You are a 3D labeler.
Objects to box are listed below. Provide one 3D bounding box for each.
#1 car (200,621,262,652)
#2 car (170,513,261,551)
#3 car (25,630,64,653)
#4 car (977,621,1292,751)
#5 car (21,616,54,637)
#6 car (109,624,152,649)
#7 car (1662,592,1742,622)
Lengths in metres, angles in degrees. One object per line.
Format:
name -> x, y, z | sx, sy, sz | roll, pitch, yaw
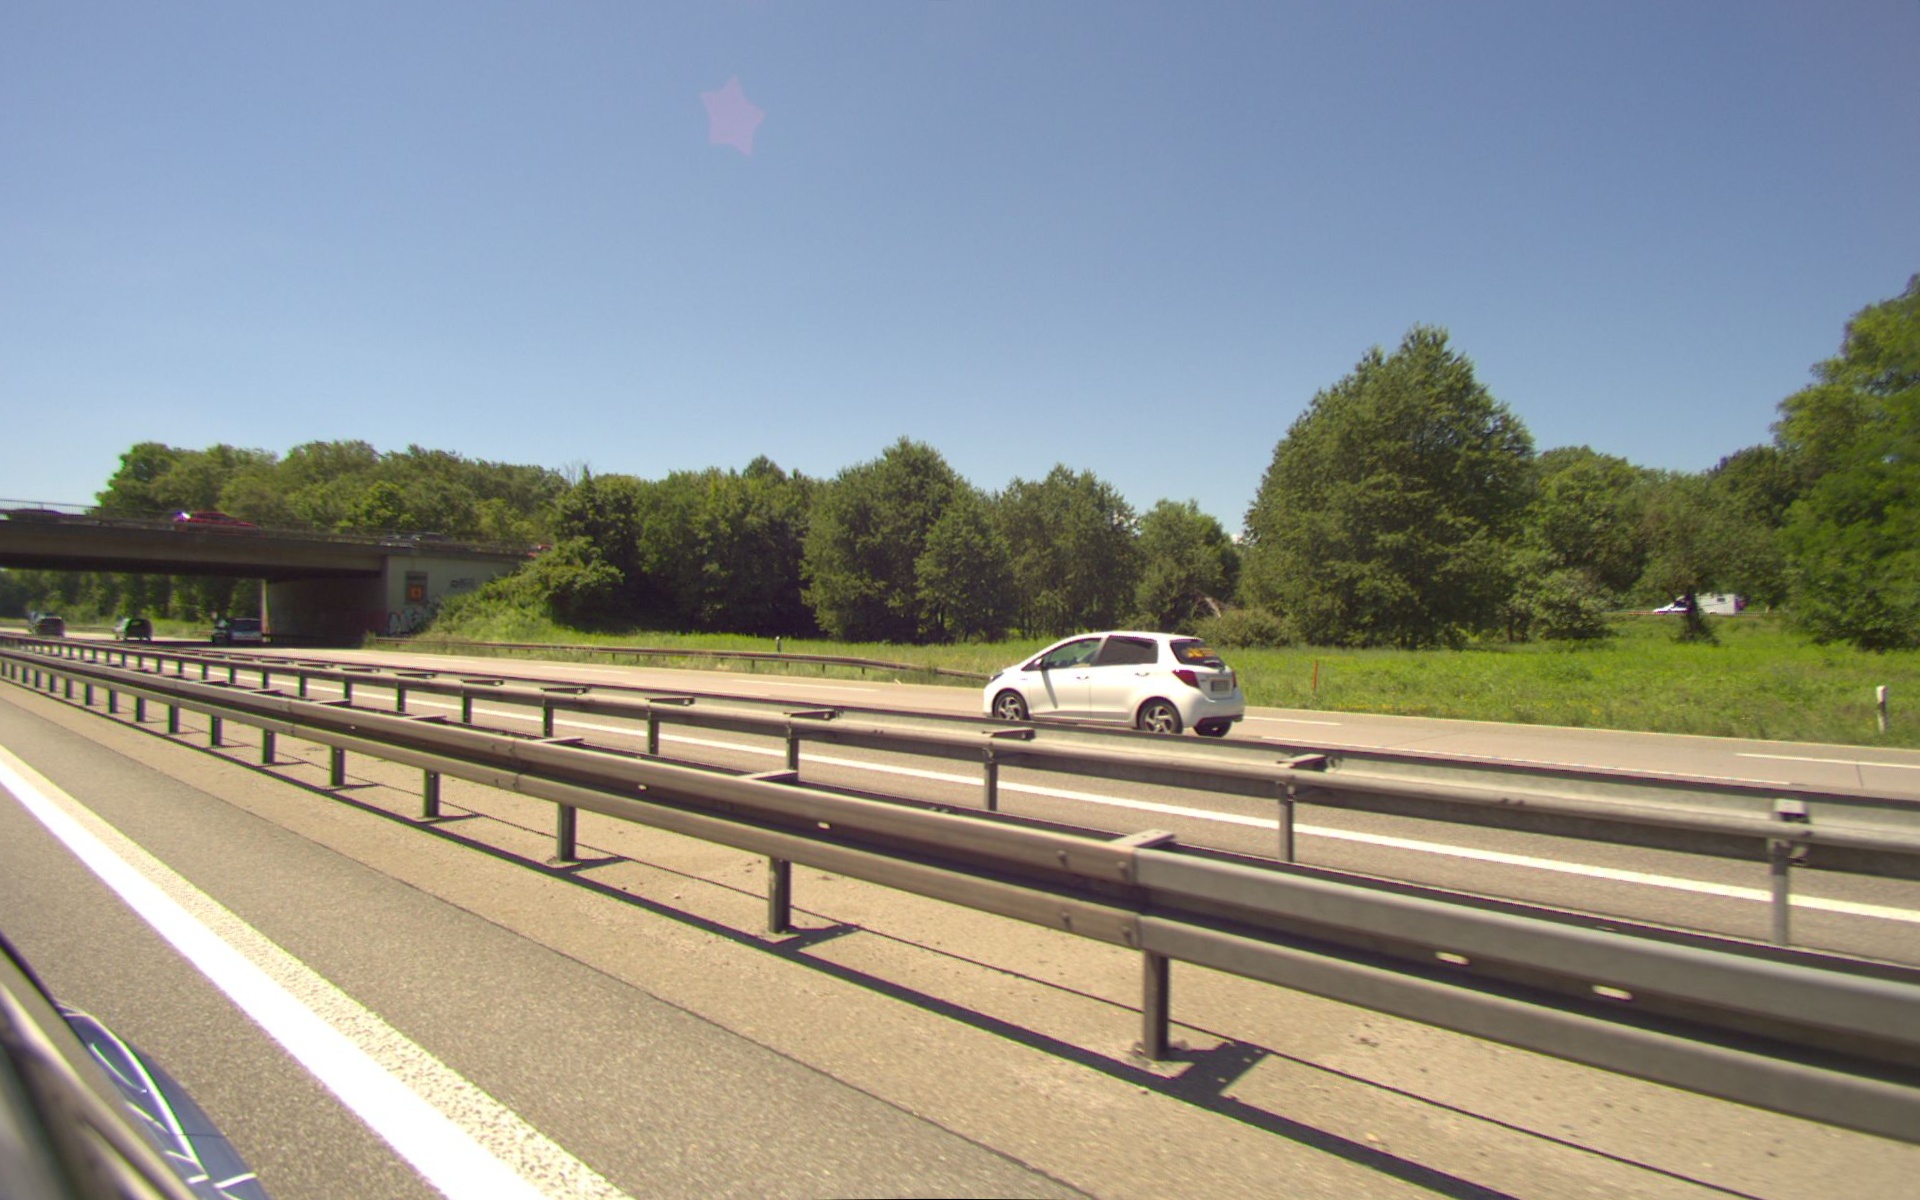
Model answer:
car -> -43.831, 2.165, 60.825 | 5.081, 1.776, 1.723 | -1, -3, 39
car -> -45.382, -4.110, 61.729 | 1.997, 2.029, 4.106 | -1, 0, 38
car -> -72.538, 3.278, 80.177 | 4.637, 1.732, 1.722 | -1, -3, 41
car -> 2.385, 1.104, 14.507 | 4.202, 1.556, 1.671 | -1, 0, 41
car -> -106.053, 3.018, 116.294 | 5.730, 2.417, 2.068 | -1, 0, 40
car -> -63.552, 2.779, 77.548 | 4.932, 1.819, 1.722 | -1, -3, 41
car -> 78.306, 0.748, 106.945 | 6.608, 3.043, 2.511 | -1, 0, 34
